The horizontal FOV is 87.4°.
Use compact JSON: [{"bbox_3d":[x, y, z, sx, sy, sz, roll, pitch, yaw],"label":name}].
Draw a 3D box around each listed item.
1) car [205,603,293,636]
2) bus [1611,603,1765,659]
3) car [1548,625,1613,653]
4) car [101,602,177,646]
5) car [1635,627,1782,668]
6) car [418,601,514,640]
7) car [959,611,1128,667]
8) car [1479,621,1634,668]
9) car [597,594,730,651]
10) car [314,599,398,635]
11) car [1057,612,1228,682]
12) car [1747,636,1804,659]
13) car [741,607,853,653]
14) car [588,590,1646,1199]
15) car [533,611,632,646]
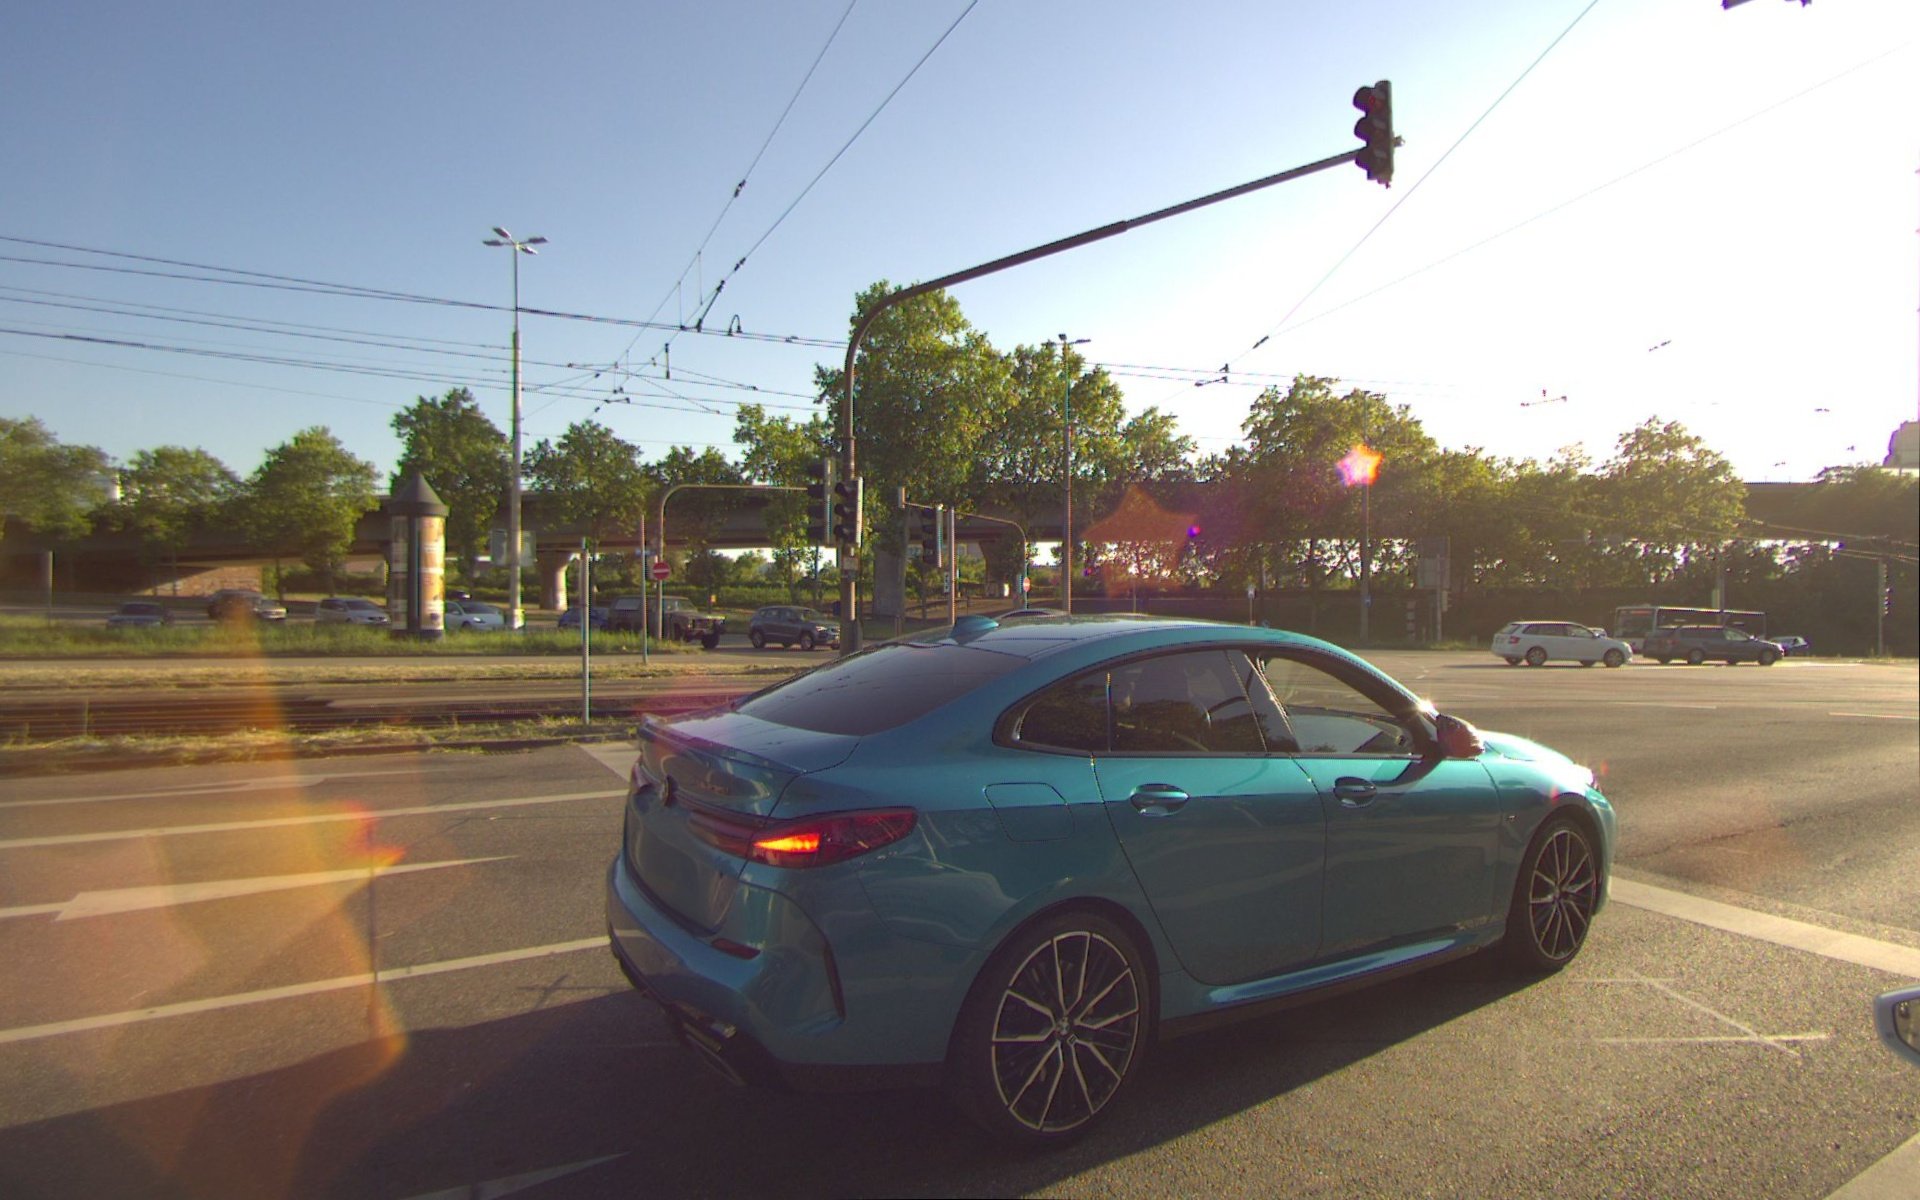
[{"bbox_3d":[-38.797,1.041,54.817,4.327,1.701,1.694,1,0,20],"label":"car"},{"bbox_3d":[46.086,2.024,63.365,12.756,3.171,2.534,3,-2,-28],"label":"bus"},{"bbox_3d":[35.625,2.205,57.668,3.963,1.532,1.598,1,0,-32],"label":"car"},{"bbox_3d":[-34.044,0.963,41.760,1.734,1.701,4.716,1,0,-31],"label":"car"},{"bbox_3d":[28.193,1.777,37.909,4.358,1.423,1.670,1,0,-2],"label":"car"},{"bbox_3d":[-21.930,0.877,44.557,4.686,1.596,1.689,1,0,33],"label":"car"},{"bbox_3d":[2.574,1.173,31.893,5.282,1.595,1.734,0,-1,37],"label":"car"},{"bbox_3d":[19.871,1.455,33.597,4.112,1.423,1.671,1,0,6],"label":"car"},{"bbox_3d":[-11.166,0.798,37.715,4.856,2.017,2.033,1,-1,31],"label":"car"},{"bbox_3d":[-29.709,0.836,49.400,4.210,1.653,1.691,1,0,29],"label":"car"},{"bbox_3d":[4.580,1.124,25.465,3.938,1.595,1.686,0,-1,39],"label":"car"},{"bbox_3d":[55.546,3.223,68.396,3.958,1.438,1.600,1,0,-29],"label":"car"},{"bbox_3d":[-6.218,1.108,38.095,4.177,1.595,1.689,0,-1,34],"label":"car"},{"bbox_3d":[0.861,0.763,4.039,4.162,1.485,1.704,1,-1,-33],"label":"car"},{"bbox_3d":[-17.433,1.297,46.336,4.541,1.478,1.691,1,0,28],"label":"car"}]
